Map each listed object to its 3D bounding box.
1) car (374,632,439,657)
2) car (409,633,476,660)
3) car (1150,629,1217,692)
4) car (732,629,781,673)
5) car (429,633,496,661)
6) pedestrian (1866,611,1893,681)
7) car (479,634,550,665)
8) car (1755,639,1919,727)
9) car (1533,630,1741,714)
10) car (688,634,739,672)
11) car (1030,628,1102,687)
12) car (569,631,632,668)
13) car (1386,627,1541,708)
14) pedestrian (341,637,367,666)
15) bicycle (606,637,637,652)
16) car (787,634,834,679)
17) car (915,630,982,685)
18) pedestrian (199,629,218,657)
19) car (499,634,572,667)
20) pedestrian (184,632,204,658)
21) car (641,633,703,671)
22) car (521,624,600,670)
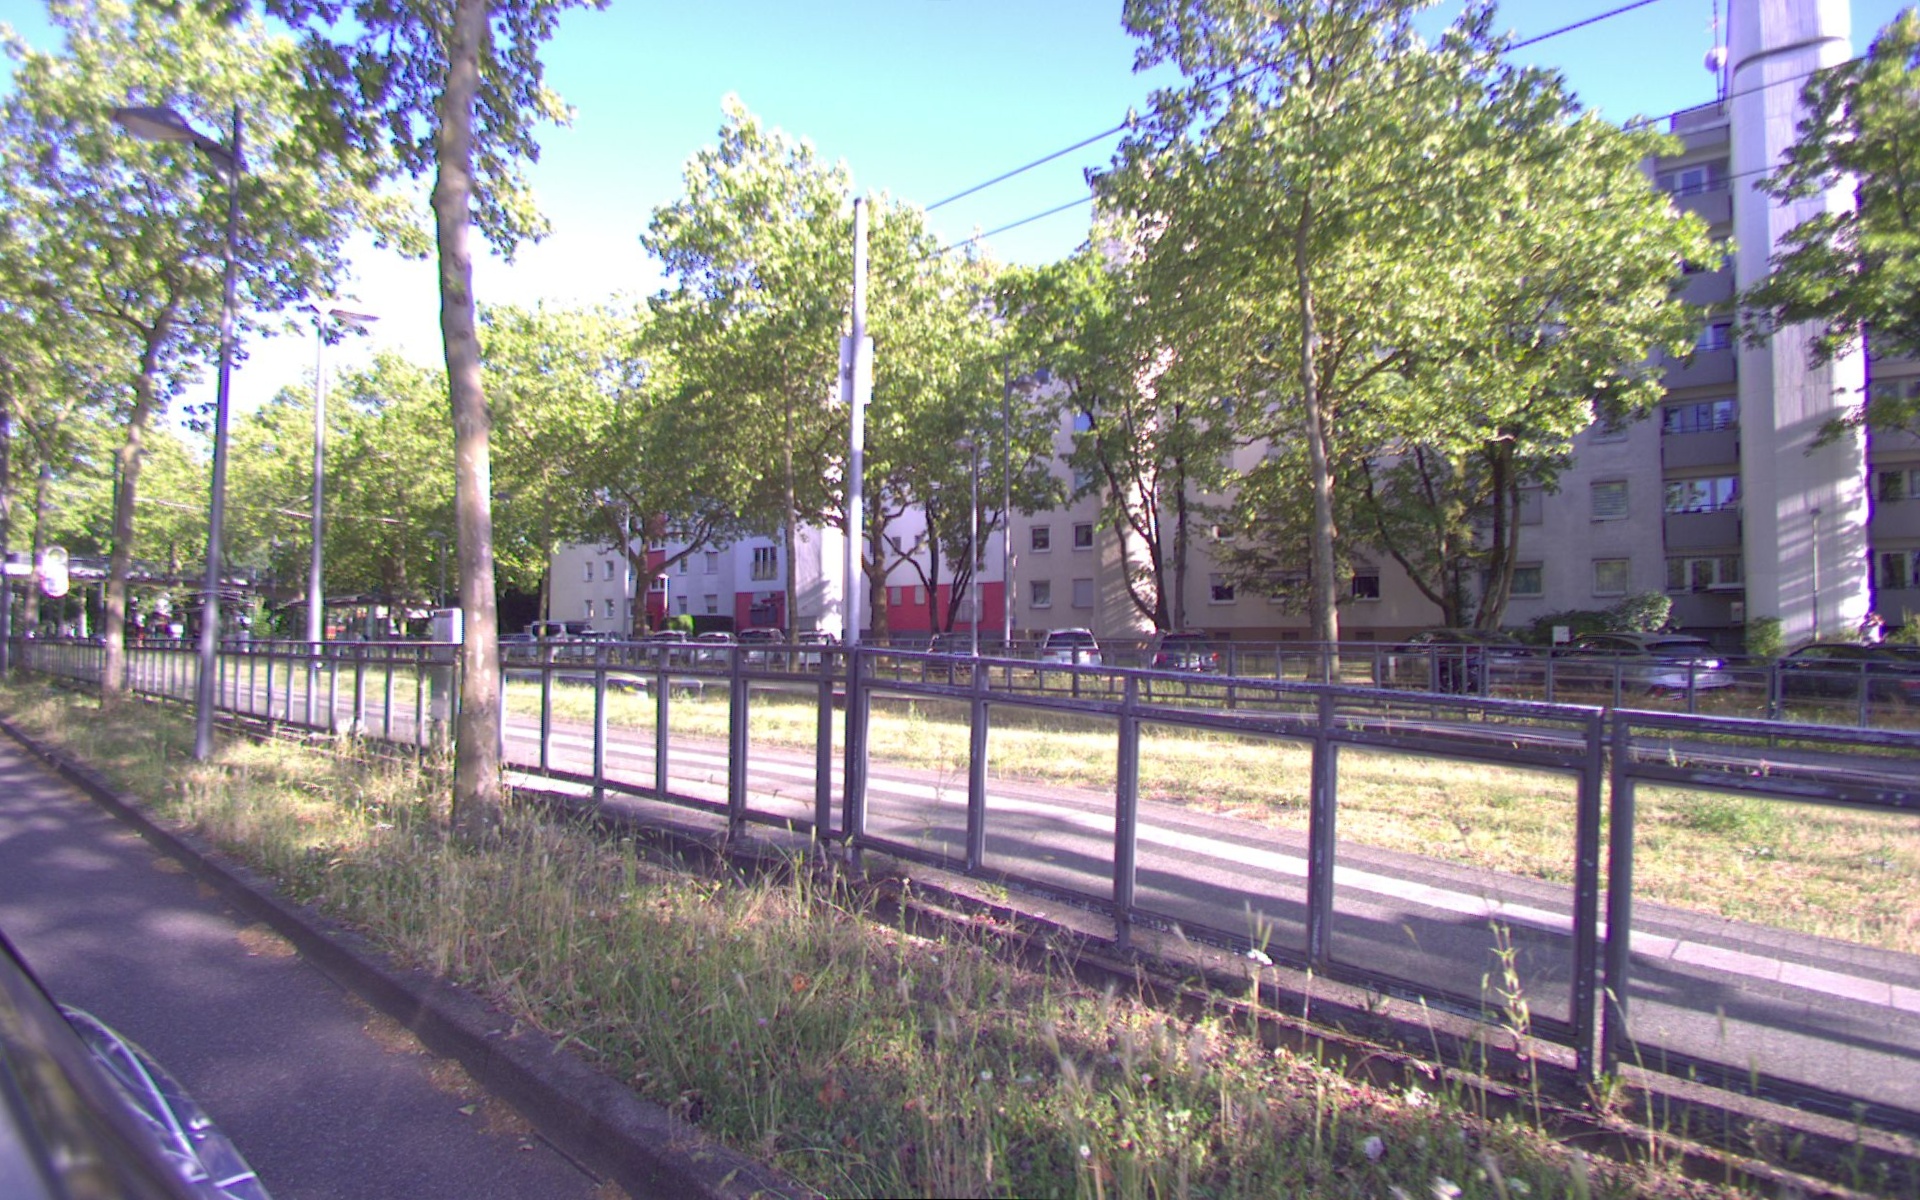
[{"bbox_3d":[-35.680,2.866,65.351,1.678,1.439,4.196,-2,-1,3],"label":"car"},{"bbox_3d":[-30.899,2.739,60.593,1.678,1.439,4.196,-2,-1,3],"label":"car"},{"bbox_3d":[5.820,1.543,26.630,1.448,1.520,3.375,-1,-2,8],"label":"car"},{"bbox_3d":[-7.925,1.954,39.599,1.551,1.580,4.066,-1,-2,-7],"label":"car"},{"bbox_3d":[-28.806,2.688,58.750,1.678,1.439,4.196,-2,-1,3],"label":"car"},{"bbox_3d":[23.782,1.179,26.177,0.449,1.805,0.315,-2,-2,36],"label":"pedestrian"},{"bbox_3d":[-24.092,2.651,54.947,1.873,1.509,4.500,-2,-1,0],"label":"car"},{"bbox_3d":[15.593,1.341,17.256,1.445,1.263,3.382,-1,-1,2],"label":"car"},{"bbox_3d":[12.954,1.323,19.605,1.516,1.437,3.388,0,-1,-5],"label":"car"},{"bbox_3d":[-10.135,2.142,41.863,1.551,1.443,4.066,-1,-2,-7],"label":"car"},{"bbox_3d":[2.992,1.609,29.211,1.623,1.556,3.992,-1,-2,0],"label":"car"},{"bbox_3d":[-16.987,2.327,47.947,1.665,1.623,4.061,-1,-2,-2],"label":"car"},{"bbox_3d":[10.543,1.363,21.431,1.442,1.559,3.142,-1,-1,-5],"label":"car"},{"bbox_3d":[-25.158,2.141,42.005,0.662,1.136,0.687,-2,-5,43],"label":"pedestrian"},{"bbox_3d":[-22.961,3.021,68.613,2.592,0.935,0.688,-3,-2,39],"label":"bicycle"},{"bbox_3d":[-5.398,2.013,36.748,1.551,1.485,4.066,-1,-2,-7],"label":"car"},{"bbox_3d":[-0.420,1.758,31.863,1.621,1.556,4.181,-1,-2,-7],"label":"car"},{"bbox_3d":[-44.563,2.569,60.020,0.715,1.647,0.722,-1,-3,39],"label":"pedestrian"},{"bbox_3d":[-21.797,2.583,52.129,1.873,1.509,4.500,-2,-1,0],"label":"car"},{"bbox_3d":[-45.394,2.649,59.964,0.681,1.525,0.638,-1,-4,29],"label":"pedestrian"},{"bbox_3d":[-12.397,2.197,43.841,1.870,1.515,4.506,-1,-2,-7],"label":"car"},{"bbox_3d":[-19.507,2.255,49.638,1.875,2.079,4.496,-2,-1,3],"label":"car"}]
